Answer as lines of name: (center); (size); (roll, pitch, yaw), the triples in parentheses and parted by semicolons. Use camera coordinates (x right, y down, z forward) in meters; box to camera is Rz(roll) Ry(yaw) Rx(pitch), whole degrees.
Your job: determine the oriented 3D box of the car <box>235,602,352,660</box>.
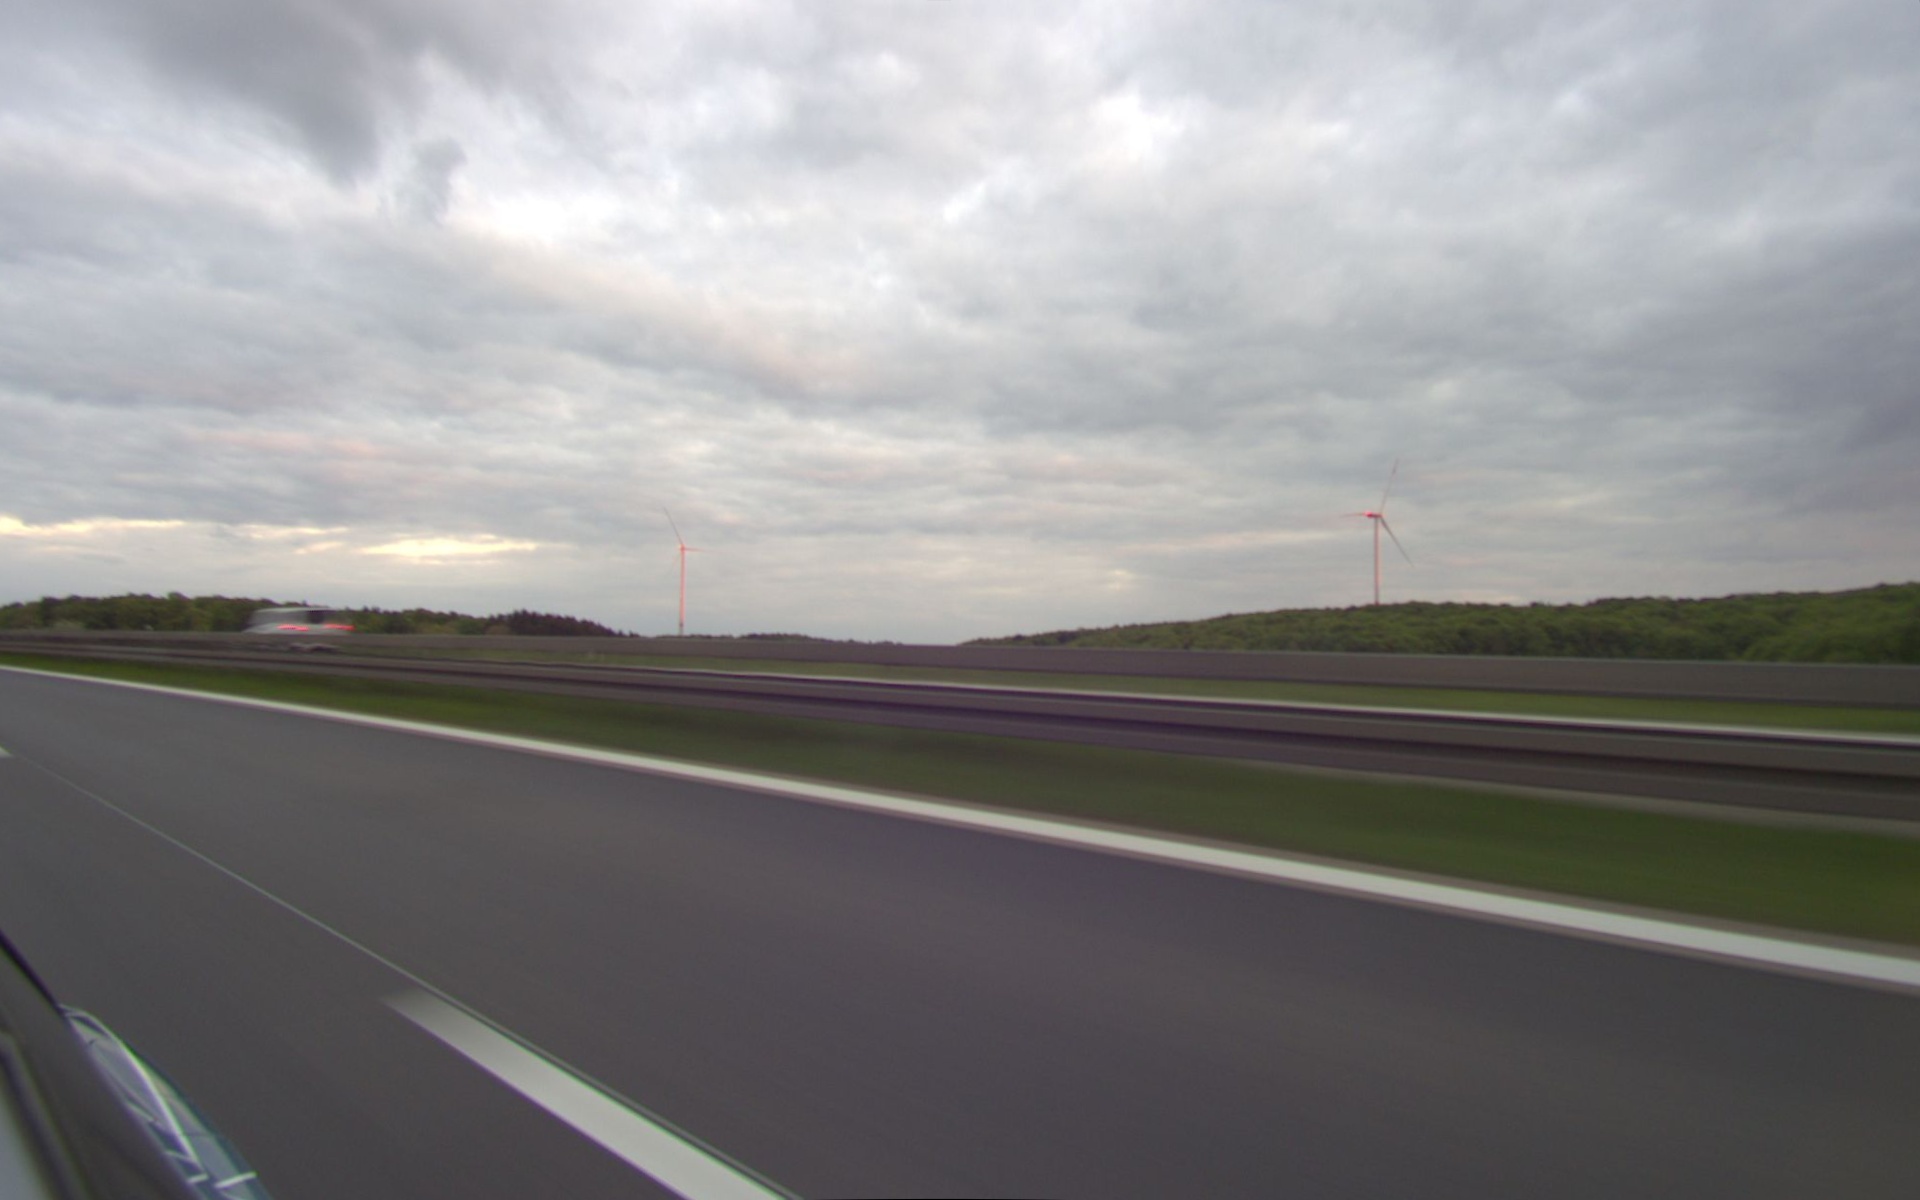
car: (-26.876, 1.286, 40.738); (5.252, 2.029, 2.259); (-2, -8, 39)
